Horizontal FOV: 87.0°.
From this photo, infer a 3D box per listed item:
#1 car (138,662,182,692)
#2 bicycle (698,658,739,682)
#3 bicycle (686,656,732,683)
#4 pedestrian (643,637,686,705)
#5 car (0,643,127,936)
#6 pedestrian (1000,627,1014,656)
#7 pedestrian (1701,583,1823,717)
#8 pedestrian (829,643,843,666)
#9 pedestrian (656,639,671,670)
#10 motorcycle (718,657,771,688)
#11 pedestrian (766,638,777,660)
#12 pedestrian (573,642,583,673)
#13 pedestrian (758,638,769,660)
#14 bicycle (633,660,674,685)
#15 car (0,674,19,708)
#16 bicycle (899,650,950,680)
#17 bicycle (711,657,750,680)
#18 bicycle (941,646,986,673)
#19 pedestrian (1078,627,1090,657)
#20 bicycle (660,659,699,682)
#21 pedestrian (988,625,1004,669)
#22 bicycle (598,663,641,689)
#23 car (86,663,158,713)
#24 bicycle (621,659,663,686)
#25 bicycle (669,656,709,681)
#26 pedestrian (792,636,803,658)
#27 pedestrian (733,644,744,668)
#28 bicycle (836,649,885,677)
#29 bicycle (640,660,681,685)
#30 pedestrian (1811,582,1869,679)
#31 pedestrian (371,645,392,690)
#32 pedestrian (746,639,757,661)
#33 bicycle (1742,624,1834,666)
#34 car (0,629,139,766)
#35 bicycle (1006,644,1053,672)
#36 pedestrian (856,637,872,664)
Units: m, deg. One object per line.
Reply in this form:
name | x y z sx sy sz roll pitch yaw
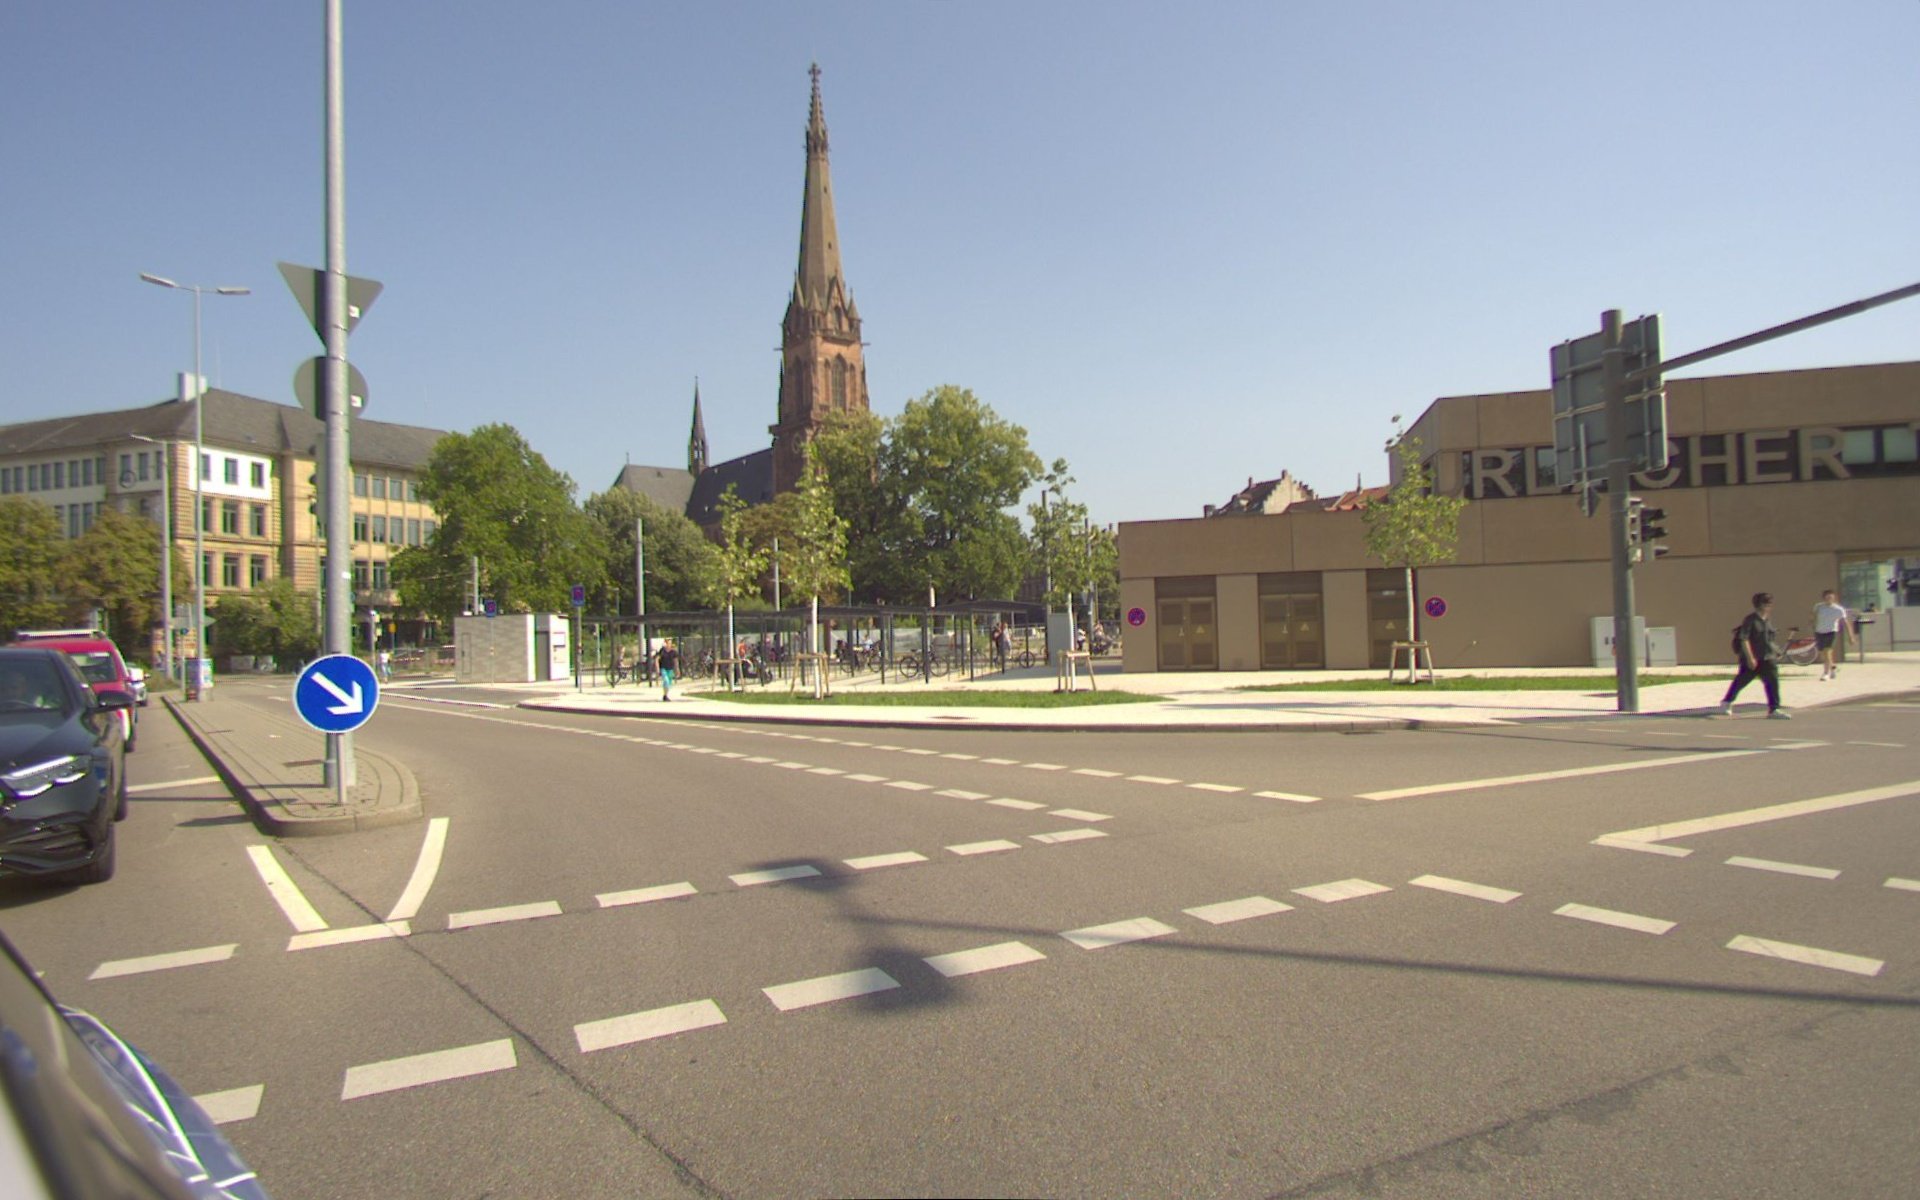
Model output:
car | -46.357 4.448 58.644 1.968 1.564 4.007 0 -2 -39
bicycle | -9.574 2.778 40.097 1.575 0.899 0.407 -3 -2 17
bicycle | -9.764 2.683 39.303 1.699 0.994 0.530 -3 -2 17
pedestrian | -7.030 1.685 24.082 0.665 1.577 0.745 -3 -4 33
car | -6.754 1.054 6.661 1.796 1.451 4.883 0 -2 -38
pedestrian | 2.445 2.167 52.877 0.564 1.432 0.467 -4 -1 18
pedestrian | 11.630 0.710 14.710 0.717 1.854 1.086 -1 -2 -20
pedestrian | -6.745 2.969 55.089 0.569 1.206 0.465 -3 -2 18
pedestrian | -16.947 3.122 57.901 0.706 1.762 0.389 0 -3 -41
motorcycle | -7.391 2.481 34.657 1.731 1.017 0.540 -3 -2 17
pedestrian | -10.766 2.793 57.745 0.380 1.233 0.437 -4 -1 18
pedestrian | -22.187 3.336 58.775 0.510 1.720 0.505 -1 -2 -15
pedestrian | -11.301 2.801 58.259 0.380 1.233 0.437 -4 -1 18
bicycle | -11.893 2.807 39.250 1.575 0.899 0.399 -3 -2 17
car | -48.907 4.616 51.055 1.970 1.622 4.251 -3 -1 -42
bicycle | -1.237 2.274 35.444 1.731 1.017 0.399 -3 -2 17
bicycle | -9.423 2.802 41.515 1.575 0.899 0.407 -3 -2 17
bicycle | 0.151 2.362 40.355 1.731 1.017 0.399 -3 -2 17
pedestrian | 6.273 2.117 51.181 0.465 1.432 0.565 -4 -1 18
bicycle | -11.370 2.864 41.021 1.575 0.899 0.399 -3 -2 17
pedestrian | 1.497 1.954 42.171 0.586 1.815 0.332 -2 -2 12
bicycle | -12.559 2.802 37.306 1.575 0.899 0.399 -2 -2 17
car | -26.926 2.777 32.533 1.694 1.444 3.866 0 -3 -40
bicycle | -12.091 2.776 38.500 1.575 0.975 0.419 -3 -2 17
bicycle | -11.256 2.833 42.067 1.575 0.985 0.450 -3 -1 17
pedestrian | -9.258 2.681 57.711 0.380 1.233 0.437 -4 -1 18
pedestrian | -12.630 3.180 57.693 0.412 1.328 0.391 -4 -1 21
bicycle | -3.941 2.497 40.047 1.859 1.017 0.459 -3 -2 17
bicycle | -11.778 2.848 39.762 1.575 0.899 0.407 -3 -2 17
pedestrian | 17.087 0.598 19.647 0.562 1.847 0.696 0 -3 -42
pedestrian | -26.883 3.126 47.026 0.721 2.029 0.716 0 -3 -36
pedestrian | -11.903 2.838 57.813 0.380 1.233 0.437 -4 -1 18
bicycle | 20.615 1.125 25.218 1.598 0.963 0.658 -2 0 15
car | -14.024 1.460 15.792 1.709 1.833 4.286 0 -3 -37
bicycle | 2.698 2.244 39.250 1.729 1.028 0.471 -3 -2 16
pedestrian | -5.163 2.731 54.511 0.638 1.405 0.659 -2 -2 14
